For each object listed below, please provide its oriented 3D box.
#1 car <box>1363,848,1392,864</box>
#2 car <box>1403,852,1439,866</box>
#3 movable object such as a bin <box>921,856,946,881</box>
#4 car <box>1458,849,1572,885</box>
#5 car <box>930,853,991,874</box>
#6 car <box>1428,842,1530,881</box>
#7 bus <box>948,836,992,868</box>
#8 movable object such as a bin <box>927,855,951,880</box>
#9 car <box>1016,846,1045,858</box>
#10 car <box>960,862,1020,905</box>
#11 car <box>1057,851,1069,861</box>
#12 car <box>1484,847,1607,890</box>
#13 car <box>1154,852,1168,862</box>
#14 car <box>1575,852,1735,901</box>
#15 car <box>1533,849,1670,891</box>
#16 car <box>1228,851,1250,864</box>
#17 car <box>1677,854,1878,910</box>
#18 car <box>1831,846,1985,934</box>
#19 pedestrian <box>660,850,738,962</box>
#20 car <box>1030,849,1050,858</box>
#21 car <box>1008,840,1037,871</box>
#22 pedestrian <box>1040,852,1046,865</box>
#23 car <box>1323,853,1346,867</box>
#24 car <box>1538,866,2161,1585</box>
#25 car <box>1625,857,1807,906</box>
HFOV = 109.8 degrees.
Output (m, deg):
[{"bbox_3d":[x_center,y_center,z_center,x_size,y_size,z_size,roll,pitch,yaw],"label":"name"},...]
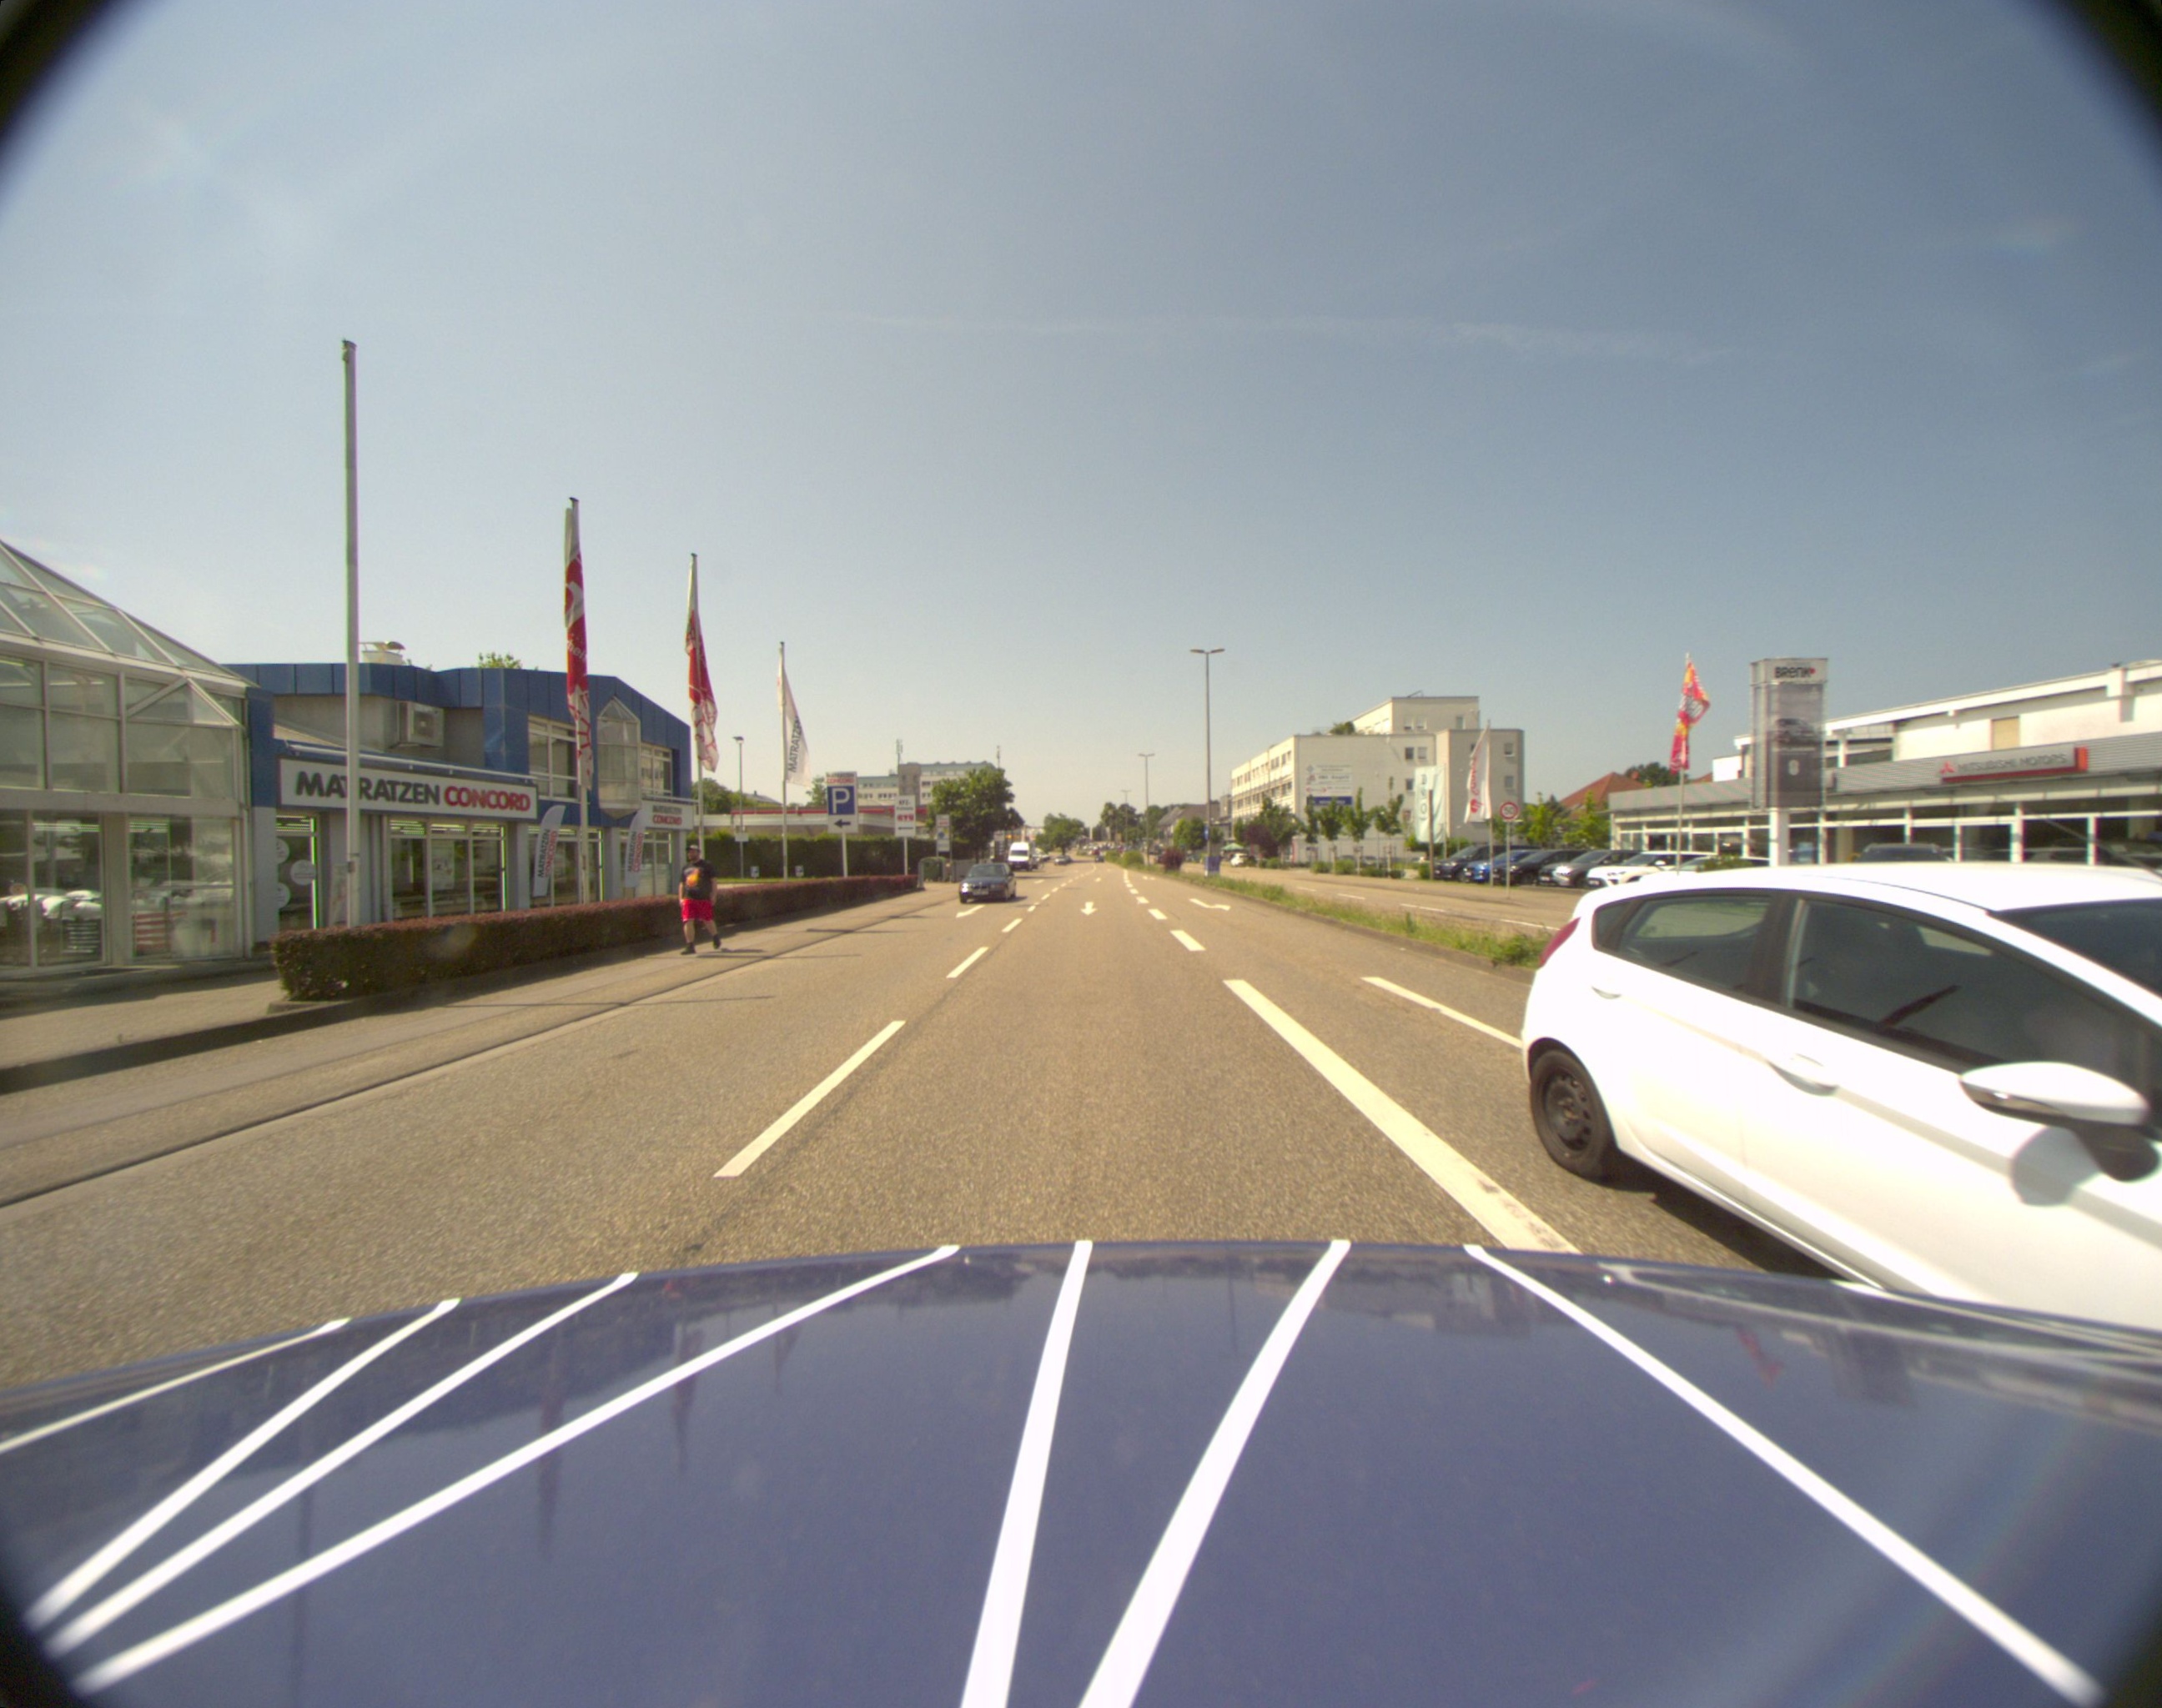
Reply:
[{"bbox_3d":[28.172,0.194,72.374,1.557,1.510,3.556,0,0,3],"label":"car"},{"bbox_3d":[32.644,0.458,73.036,1.924,1.376,3.834,0,0,4],"label":"car"},{"bbox_3d":[-8.832,0.837,45.536,1.133,1.461,1.489,0,1,1],"label":"movable object such as a bin"},{"bbox_3d":[19.724,0.577,34.667,3.997,1.599,2.089,0,1,-1],"label":"car"},{"bbox_3d":[-9.916,0.757,62.766,4.632,1.518,1.907,2,1,3],"label":"car"},{"bbox_3d":[19.622,0.361,37.614,3.997,1.871,2.000,0,1,-1],"label":"car"},{"bbox_3d":[-11.339,-0.193,78.855,2.755,3.134,9.080,0,0,3],"label":"bus"},{"bbox_3d":[-8.788,0.827,47.141,1.133,1.461,1.489,0,1,1],"label":"movable object such as a bin"},{"bbox_3d":[-11.063,-0.527,165.139,6.869,2.589,1.729,0,1,37],"label":"car"},{"bbox_3d":[-3.238,1.017,27.588,1.632,1.331,3.756,-2,0,1],"label":"car"},{"bbox_3d":[-2.798,0.324,120.127,1.867,1.550,4.000,0,0,0],"label":"car"},{"bbox_3d":[19.458,0.592,31.942,3.997,1.599,1.759,2,1,-1],"label":"car"},{"bbox_3d":[12.750,0.485,121.400,1.832,1.452,4.712,0,0,0],"label":"car"},{"bbox_3d":[19.524,0.749,26.003,3.996,1.599,1.926,0,1,3],"label":"car"},{"bbox_3d":[19.657,0.590,28.813,3.997,1.559,1.759,0,1,-1],"label":"car"},{"bbox_3d":[18.502,0.349,89.086,1.695,1.440,3.665,-2,0,0],"label":"car"},{"bbox_3d":[19.279,0.735,21.147,3.997,1.458,1.759,0,1,-1],"label":"car"},{"bbox_3d":[19.501,0.745,17.892,4.005,1.615,1.755,-5,4,-32],"label":"car"},{"bbox_3d":[-6.457,0.852,12.898,0.787,1.836,0.936,0,1,3],"label":"pedestrian"},{"bbox_3d":[-8.387,-0.057,154.992,3.998,1.755,1.724,0,1,-4],"label":"car"},{"bbox_3d":[-5.700,0.130,74.645,2.183,2.757,7.277,2,0,0],"label":"car"},{"bbox_3d":[-4.627,0.514,92.745,0.704,1.572,0.820,2,1,-1],"label":"pedestrian"},{"bbox_3d":[24.739,0.593,74.337,1.456,1.332,2.833,0,0,3],"label":"car"},{"bbox_3d":[3.079,0.786,1.905,1.693,1.426,3.711,-1,0,1],"label":"car"},{"bbox_3d":[19.208,0.817,23.107,3.997,1.386,1.860,0,1,-1],"label":"car"}]
